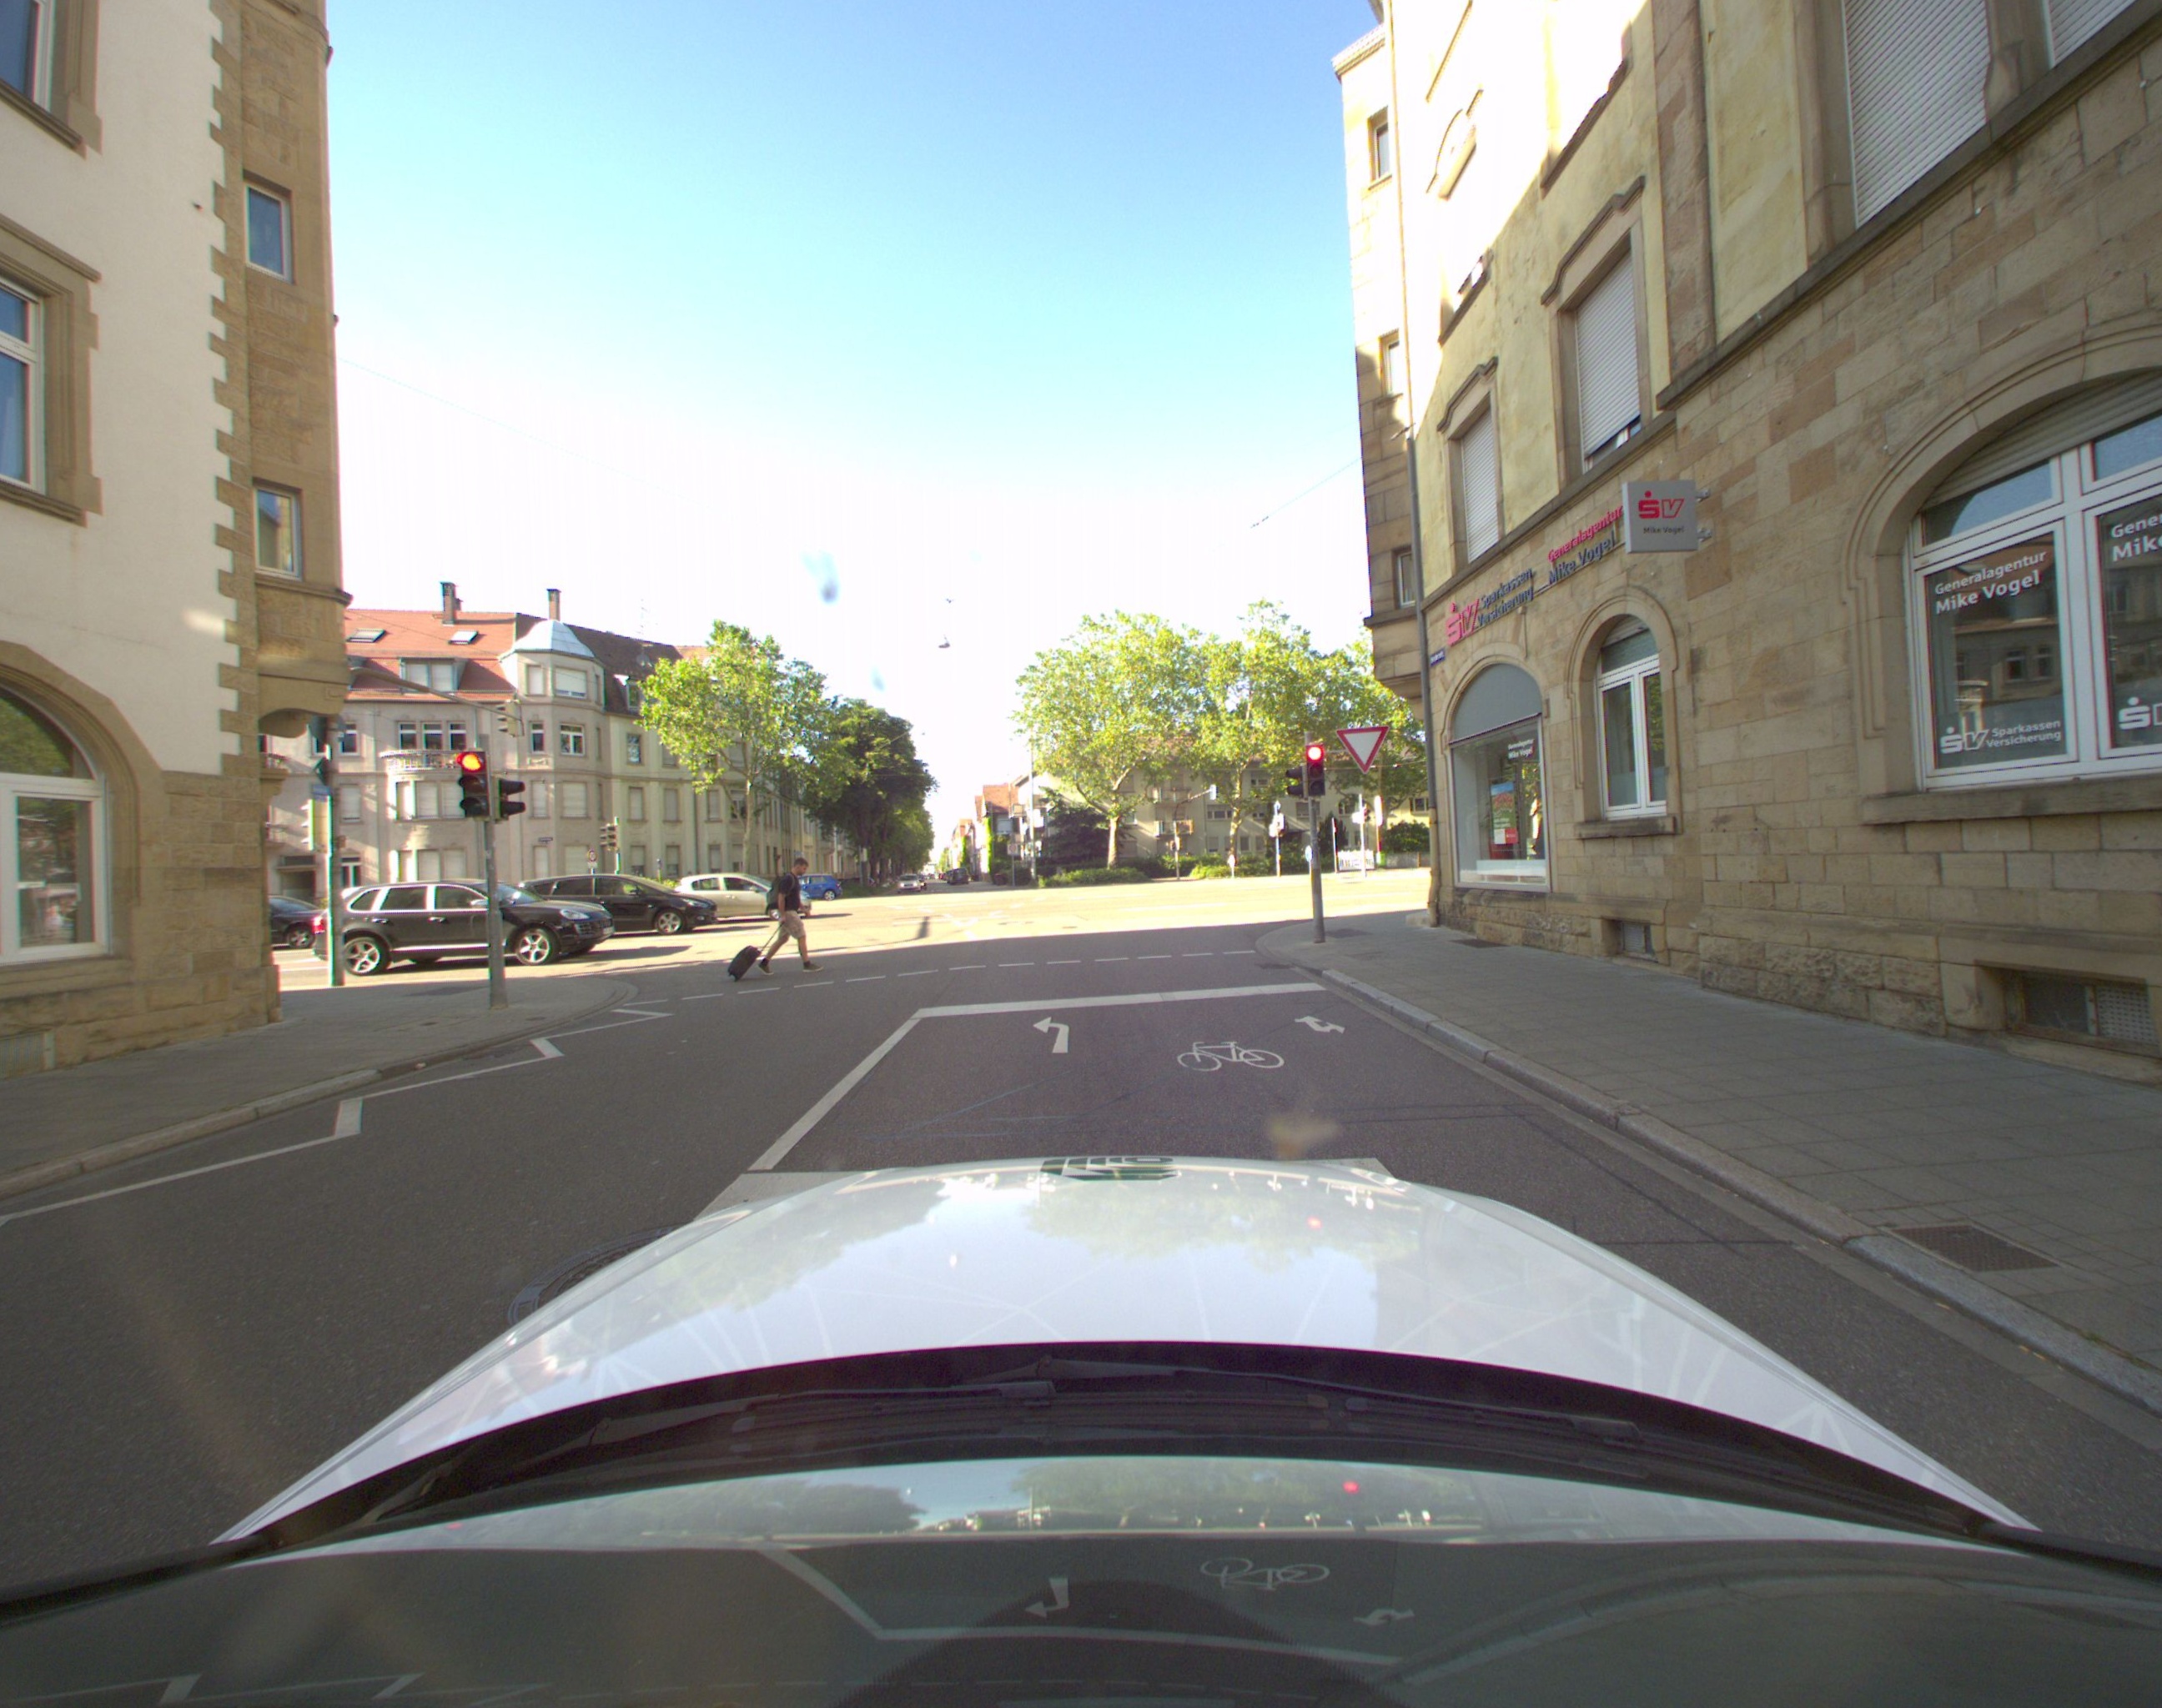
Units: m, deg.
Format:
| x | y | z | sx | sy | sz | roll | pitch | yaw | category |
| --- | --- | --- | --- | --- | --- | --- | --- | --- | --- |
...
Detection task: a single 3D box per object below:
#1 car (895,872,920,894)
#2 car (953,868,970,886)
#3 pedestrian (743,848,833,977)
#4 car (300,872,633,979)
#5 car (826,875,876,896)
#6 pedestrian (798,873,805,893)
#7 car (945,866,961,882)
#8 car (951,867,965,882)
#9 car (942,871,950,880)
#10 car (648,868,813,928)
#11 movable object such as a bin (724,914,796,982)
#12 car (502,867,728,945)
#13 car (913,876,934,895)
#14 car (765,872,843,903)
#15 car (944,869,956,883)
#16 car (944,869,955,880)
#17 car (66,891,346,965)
| x | y | z | sx | sy | sz | roll | pitch | yaw | category |
| --- | --- | --- | --- | --- | --- | --- | --- | --- | --- |
| -13.588 | 2.266 | 63.822 | 1.698 | 1.483 | 3.522 | -4 | 0 | -10 | car |
| -13.946 | 2.699 | 95.019 | 1.773 | 1.918 | 3.522 | -4 | 0 | -10 | car |
| -4.515 | 0.877 | 12.613 | 1.066 | 1.848 | 0.746 | -5 | 0 | -11 | pedestrian |
| -11.752 | 1.300 | 15.967 | 4.695 | 1.694 | 2.071 | -2 | 0 | -11 | car |
| -17.946 | 2.469 | 63.719 | 3.636 | 1.457 | 1.650 | -2 | 0 | -14 | car |
| -20.357 | 2.132 | 59.330 | 0.490 | 1.442 | 0.700 | 0 | -1 | -21 | pedestrian |
| -16.557 | 2.551 | 105.208 | 1.773 | 1.918 | 3.522 | -4 | 0 | -10 | car |
| -17.548 | 2.895 | 115.852 | 1.773 | 1.918 | 3.522 | -4 | 0 | -10 | car |
| -30.115 | 4.816 | 181.733 | 1.773 | 1.918 | 3.522 | -4 | 0 | -10 | car |
| -10.310 | 1.268 | 24.282 | 4.206 | 1.456 | 1.671 | -3 | 0 | -13 | car |
| -4.795 | 1.396 | 12.193 | 0.862 | 0.892 | 0.507 | -4 | 0 | -11 | movable object such as a bin |
| -11.745 | 1.271 | 20.877 | 4.668 | 1.664 | 1.722 | -2 | 0 | -14 | car |
| -14.129 | 2.790 | 73.258 | 1.698 | 1.483 | 3.522 | -4 | 0 | -10 | car |
| -14.623 | 1.759 | 43.029 | 3.793 | 1.400 | 1.635 | -2 | 0 | -20 | car |
| -20.734 | 3.481 | 128.821 | 1.773 | 1.918 | 3.522 | -4 | 0 | -10 | car |
| -23.741 | 3.707 | 147.190 | 1.773 | 1.918 | 3.522 | -4 | 0 | -10 | car |
| -22.539 | 1.857 | 21.206 | 4.620 | 1.456 | 1.974 | -3 | 0 | -11 | car |
